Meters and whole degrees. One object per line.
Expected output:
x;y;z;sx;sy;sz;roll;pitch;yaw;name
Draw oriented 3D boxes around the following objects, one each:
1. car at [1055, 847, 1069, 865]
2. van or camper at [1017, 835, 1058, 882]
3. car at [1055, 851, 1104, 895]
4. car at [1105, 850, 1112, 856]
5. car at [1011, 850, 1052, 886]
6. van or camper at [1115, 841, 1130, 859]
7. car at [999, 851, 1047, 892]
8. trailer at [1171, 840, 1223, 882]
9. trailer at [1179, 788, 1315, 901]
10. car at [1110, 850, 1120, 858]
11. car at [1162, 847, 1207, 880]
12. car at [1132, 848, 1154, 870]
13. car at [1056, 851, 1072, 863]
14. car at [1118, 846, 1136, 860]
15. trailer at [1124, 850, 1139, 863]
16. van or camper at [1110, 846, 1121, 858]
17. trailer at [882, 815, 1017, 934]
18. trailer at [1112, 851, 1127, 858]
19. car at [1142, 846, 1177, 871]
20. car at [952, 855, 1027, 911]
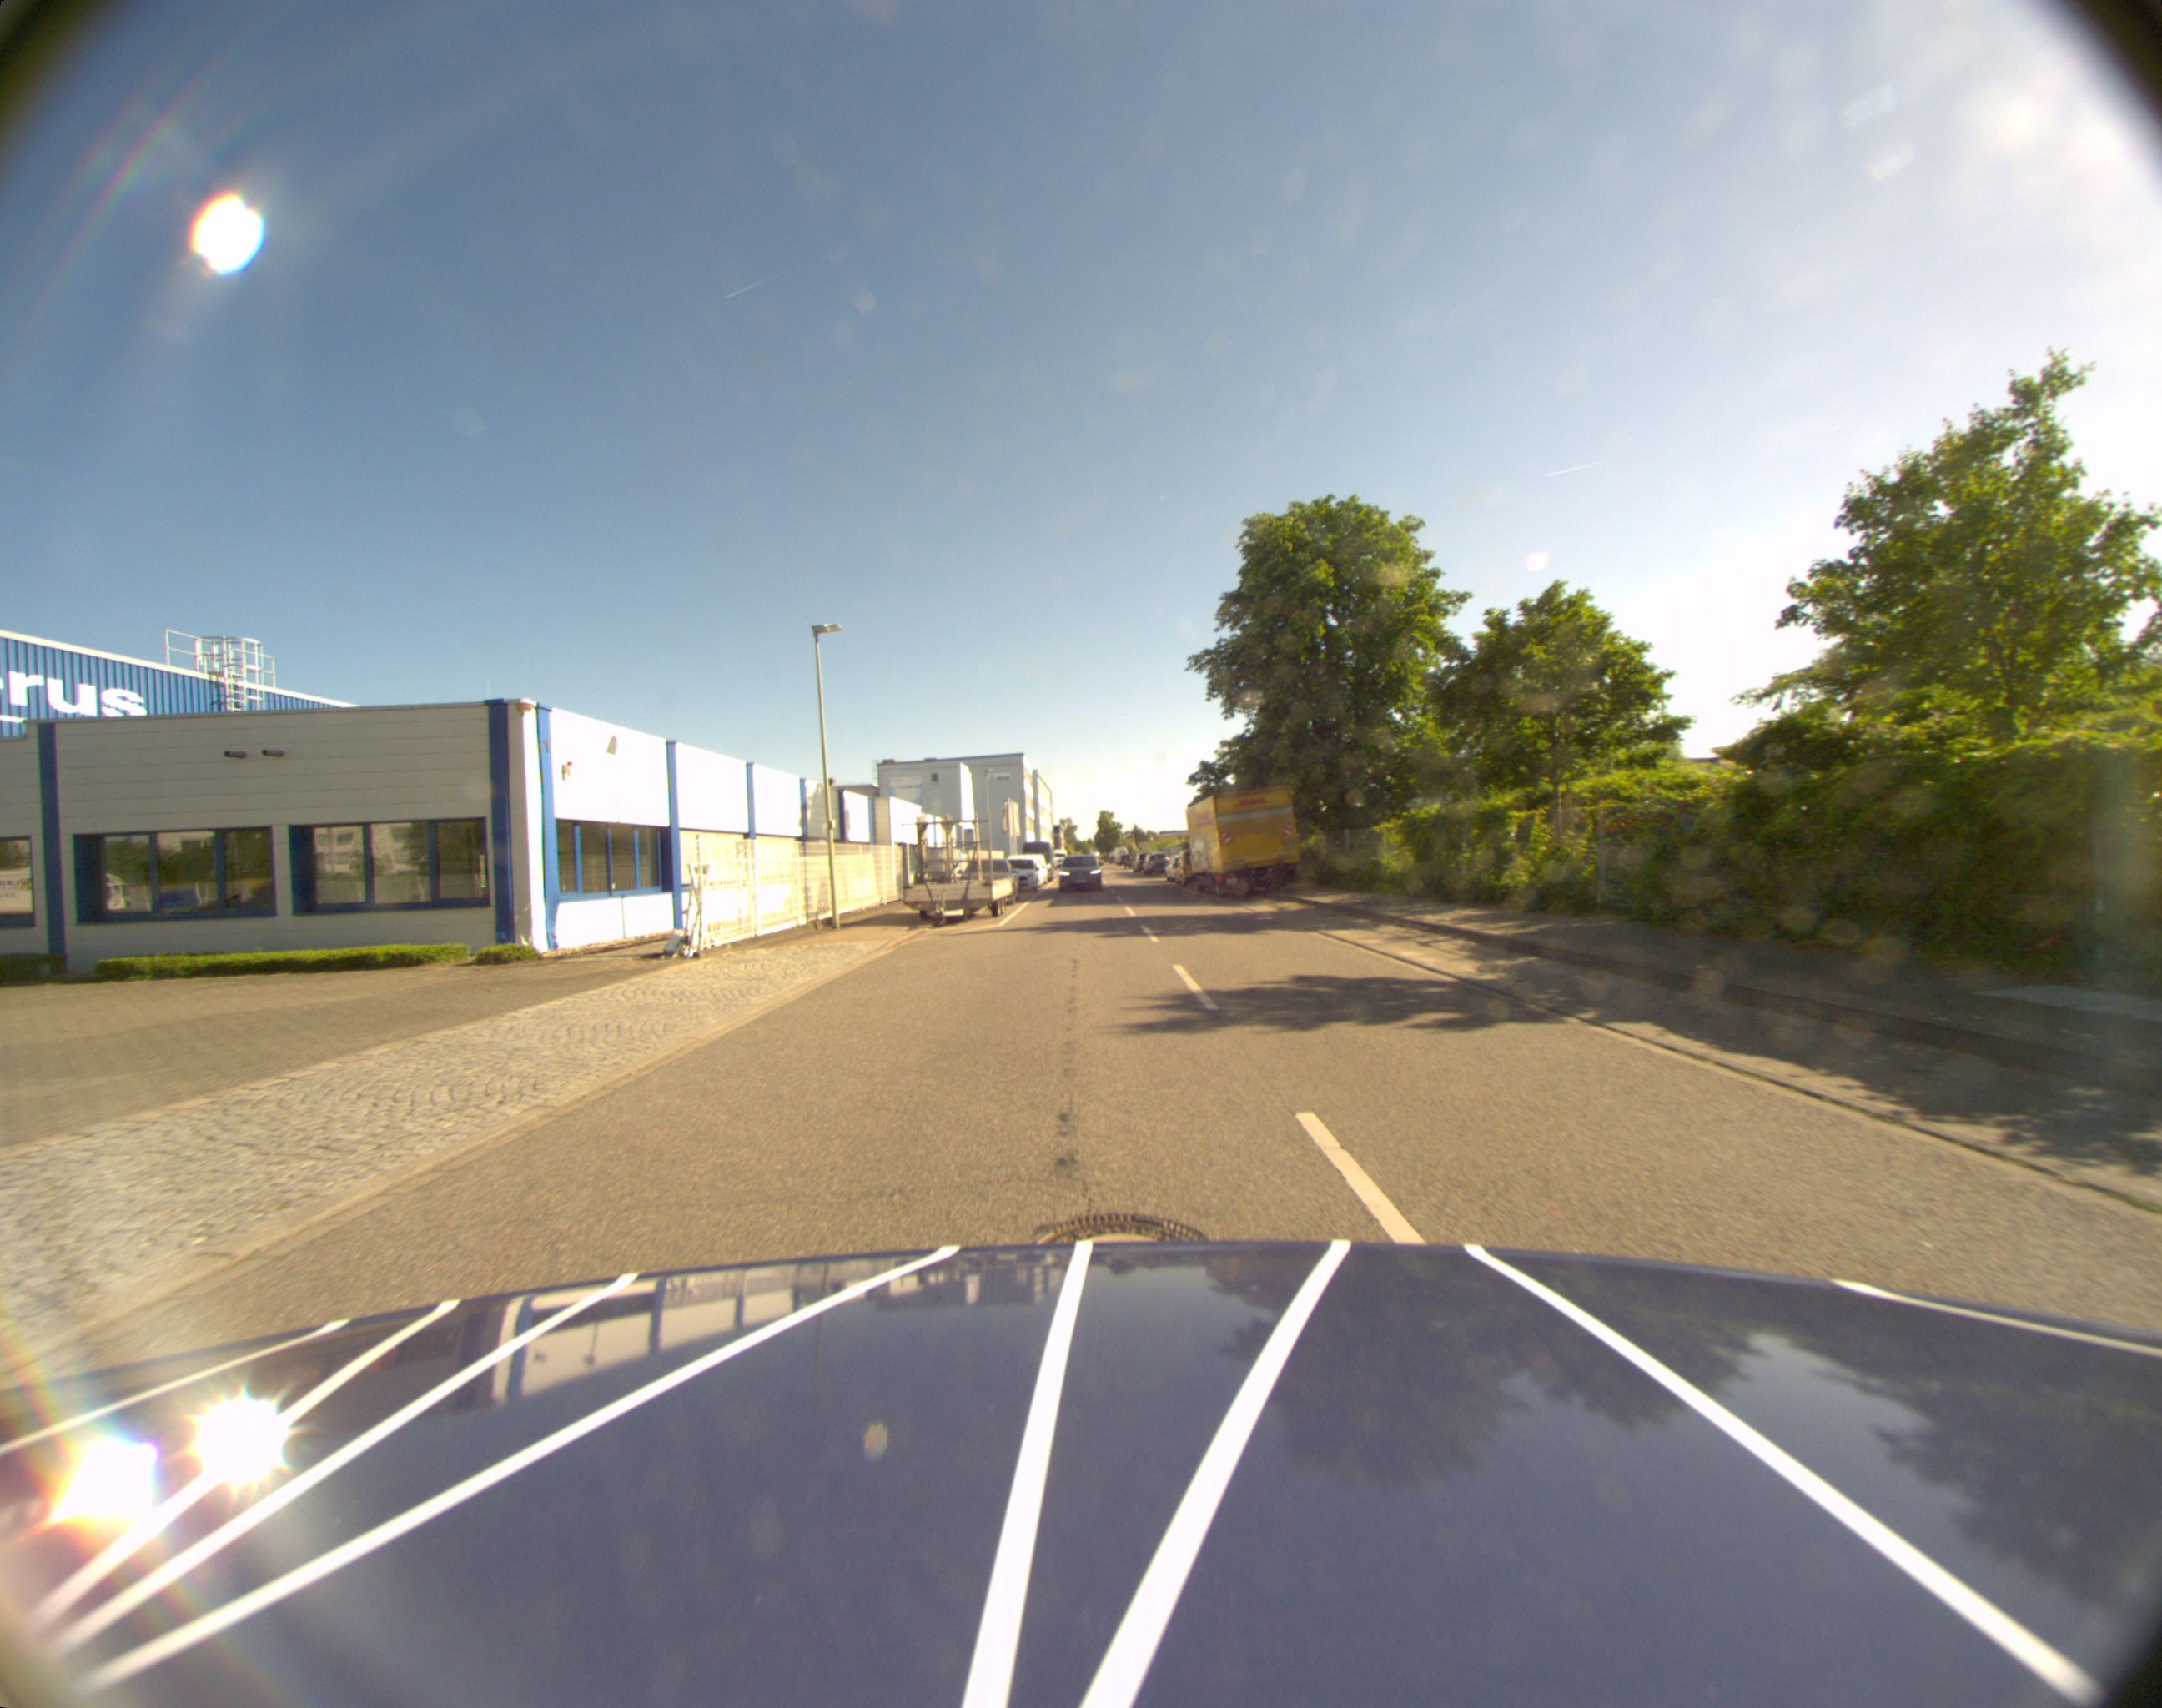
-2.824;0.317;112.908;1.999;2.582;6.051;-1;-1;0;car
-2.805;0.237;50.448;2.146;2.743;6.160;-4;1;1;van or camper
-0.028;0.792;34.386;1.998;1.750;5.015;-3;0;1;car
8.716;-0.401;242.156;1.779;1.838;4.616;-4;0;4;car
-2.830;0.750;44.463;1.890;1.836;5.103;-4;1;1;car
6.546;-0.619;120.907;1.971;2.669;5.948;-7;0;2;van or camper
-2.912;0.824;39.222;1.860;1.820;5.167;-4;1;1;car
5.819;0.313;38.664;1.998;1.930;4.414;-2;1;1;trailer
5.730;-0.336;27.826;2.999;3.423;8.160;-2;1;-1;trailer
7.127;0.026;159.270;1.804;1.501;5.002;-6;0;1;car
5.979;0.499;44.593;1.912;1.584;5.025;-7;0;1;car
5.548;0.400;68.206;1.796;1.721;4.802;-4;1;3;car
-2.221;0.436;101.241;1.899;1.397;5.123;-4;1;0;car
6.449;-0.143;108.059;2.035;1.684;5.106;-6;0;-1;car
5.766;0.246;86.843;1.480;1.346;3.078;-4;1;1;trailer
7.633;-0.489;170.091;2.076;2.534;6.404;-6;0;1;van or camper
-3.282;0.452;20.429;2.466;2.657;5.701;-2;1;1;trailer
7.141;0.141;139.950;2.382;1.073;6.246;-6;-1;0;trailer
5.909;0.336;57.965;1.913;1.653;4.462;-7;0;-2;car
-3.193;0.971;27.490;1.999;1.658;4.731;-4;1;1;car
